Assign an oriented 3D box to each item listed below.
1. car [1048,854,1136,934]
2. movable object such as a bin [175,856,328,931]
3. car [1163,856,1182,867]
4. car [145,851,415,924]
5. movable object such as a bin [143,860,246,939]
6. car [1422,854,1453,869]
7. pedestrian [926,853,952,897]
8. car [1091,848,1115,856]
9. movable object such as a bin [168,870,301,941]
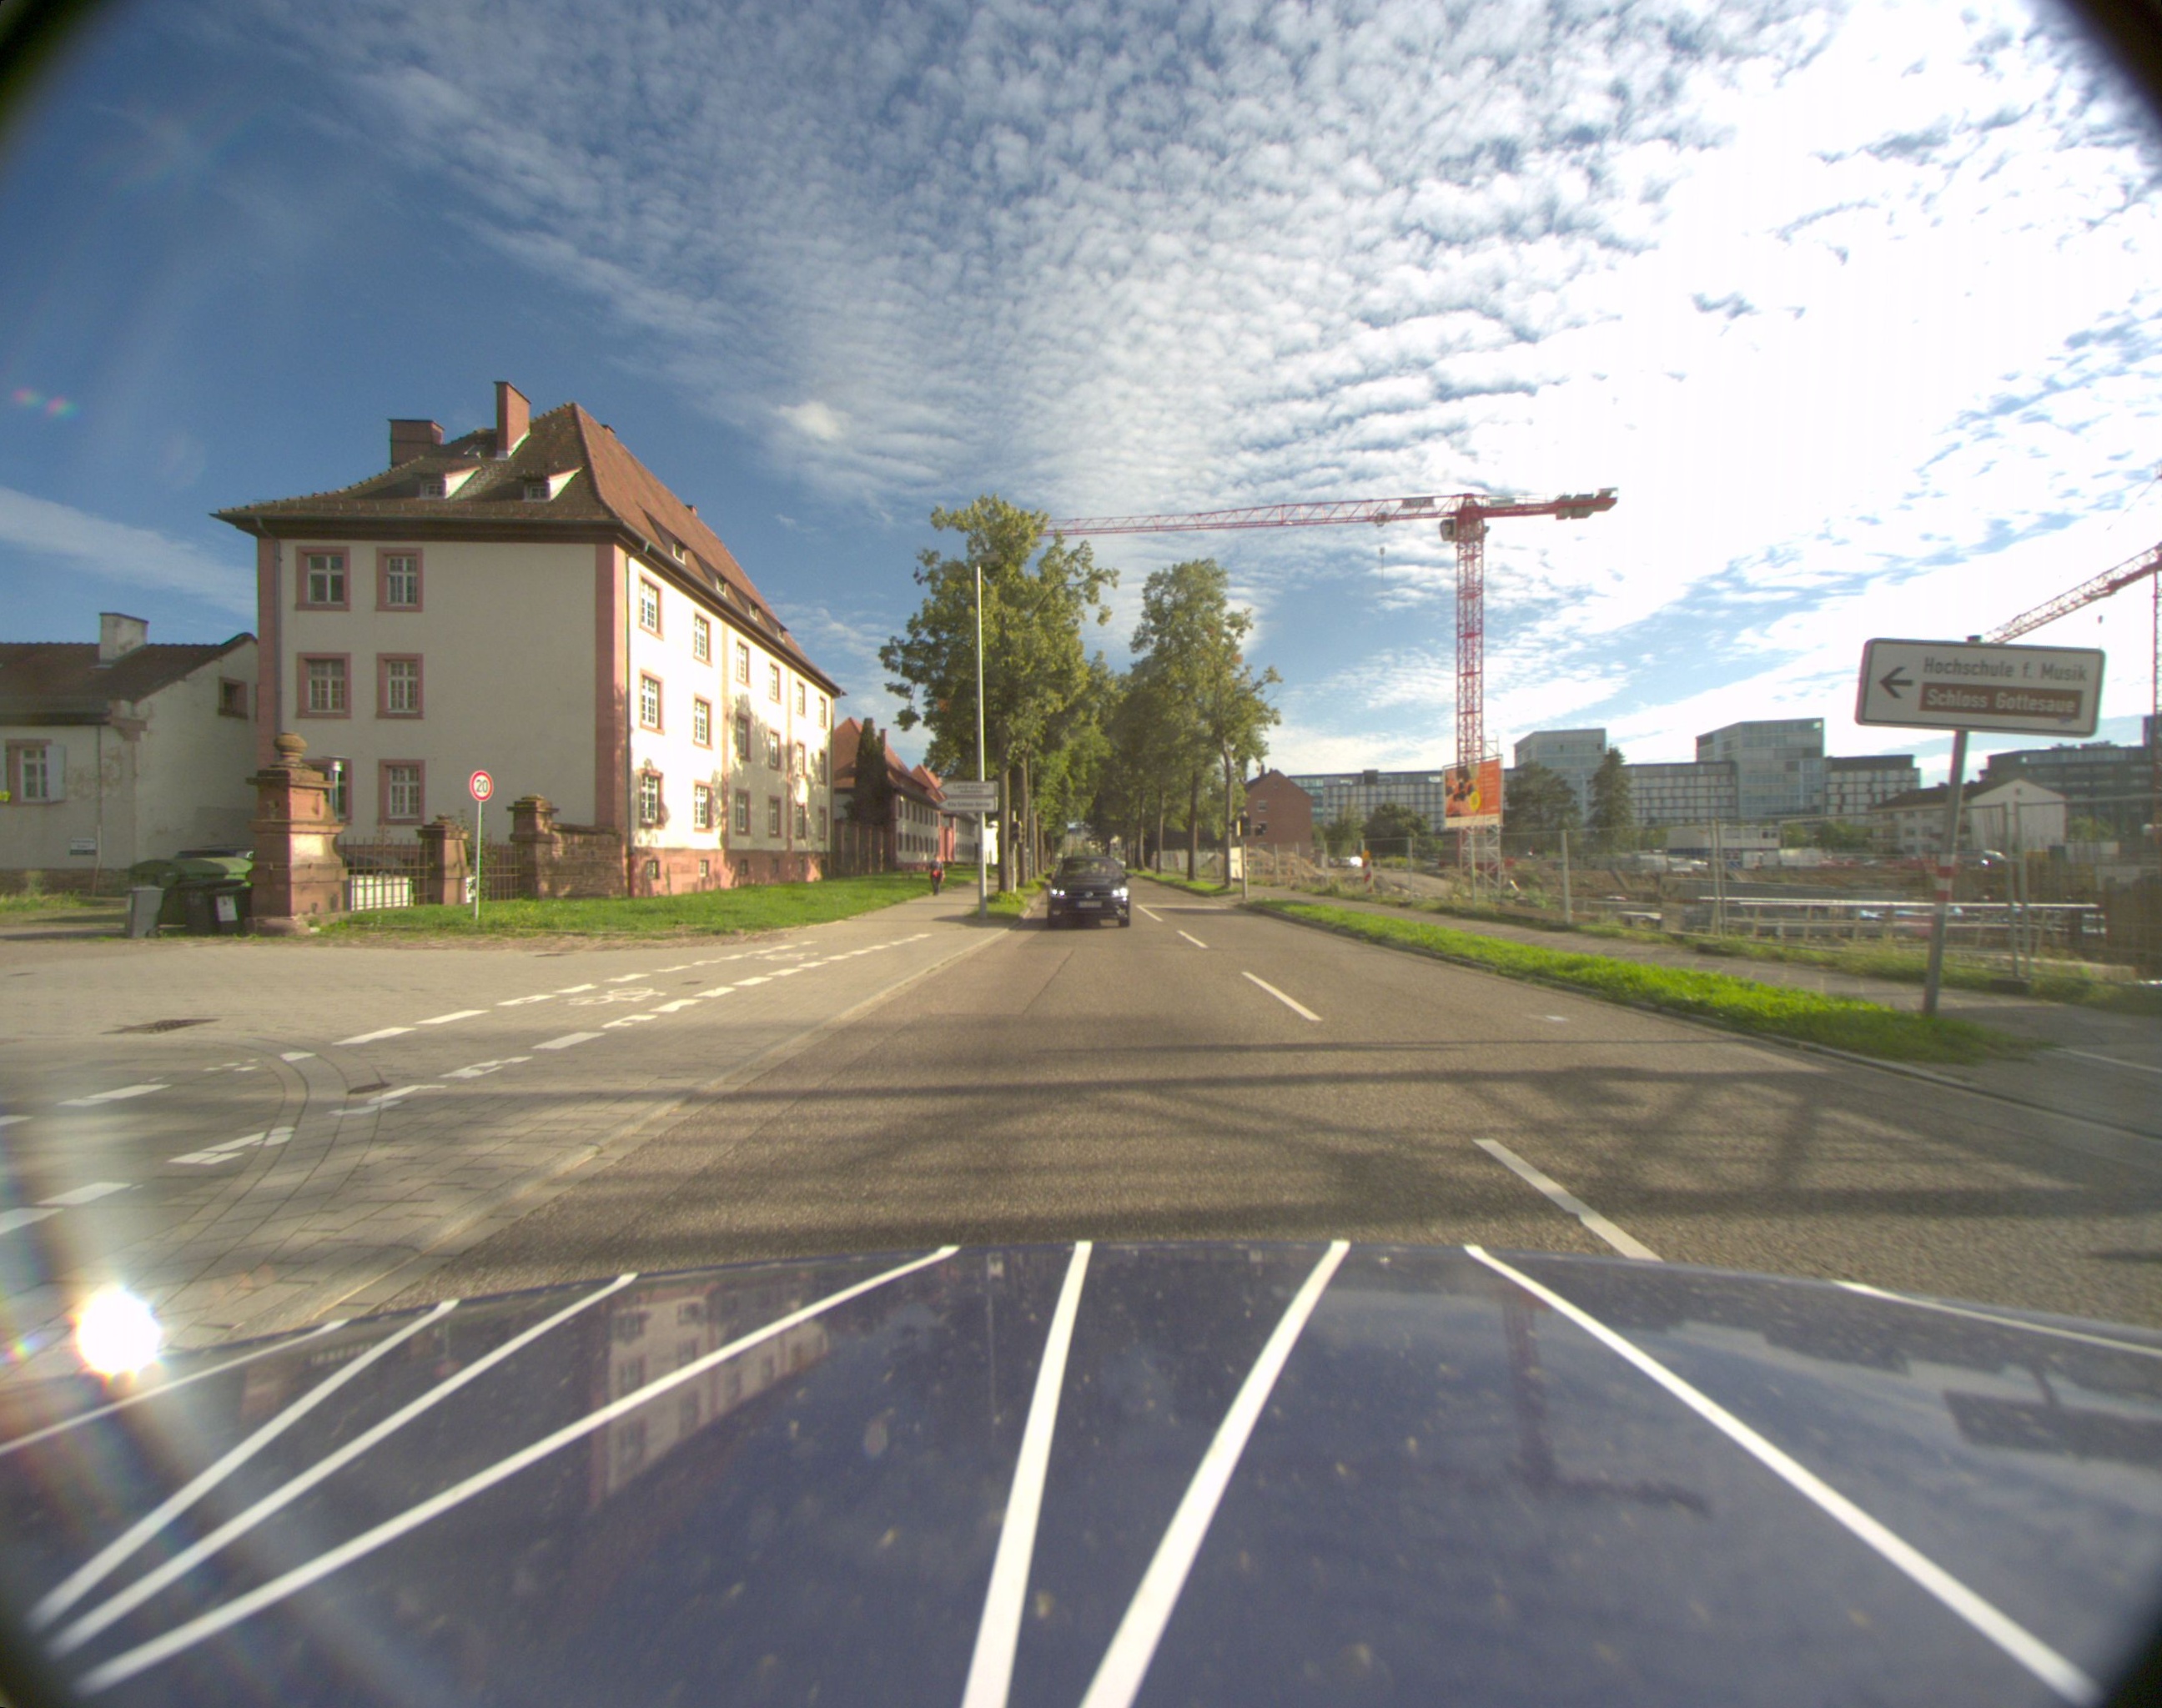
[{"bbox_3d":[0.243,0.865,18.152,1.821,1.648,4.243,-1,0,0],"label":"car"},{"bbox_3d":[-16.958,0.773,15.608,1.417,1.451,1.543,-1,0,-5],"label":"movable object such as a bin"},{"bbox_3d":[12.218,0.986,101.596,1.998,1.420,4.507,1,1,1],"label":"car"},{"bbox_3d":[-19.926,0.769,19.270,1.998,1.598,4.505,1,0,2],"label":"car"},{"bbox_3d":[-16.754,0.838,14.387,0.832,1.415,0.942,-1,0,-5],"label":"movable object such as a bin"},{"bbox_3d":[46.822,0.948,99.910,1.818,1.797,3.981,-1,2,-6],"label":"car"},{"bbox_3d":[-5.363,0.780,28.693,0.816,1.581,0.769,2,1,-2],"label":"pedestrian"},{"bbox_3d":[5.757,-0.483,200.899,2.483,1.856,6.235,-2,1,-45],"label":"car"},{"bbox_3d":[-15.586,0.932,14.034,1.194,1.223,1.092,-1,0,-5],"label":"movable object such as a bin"}]
